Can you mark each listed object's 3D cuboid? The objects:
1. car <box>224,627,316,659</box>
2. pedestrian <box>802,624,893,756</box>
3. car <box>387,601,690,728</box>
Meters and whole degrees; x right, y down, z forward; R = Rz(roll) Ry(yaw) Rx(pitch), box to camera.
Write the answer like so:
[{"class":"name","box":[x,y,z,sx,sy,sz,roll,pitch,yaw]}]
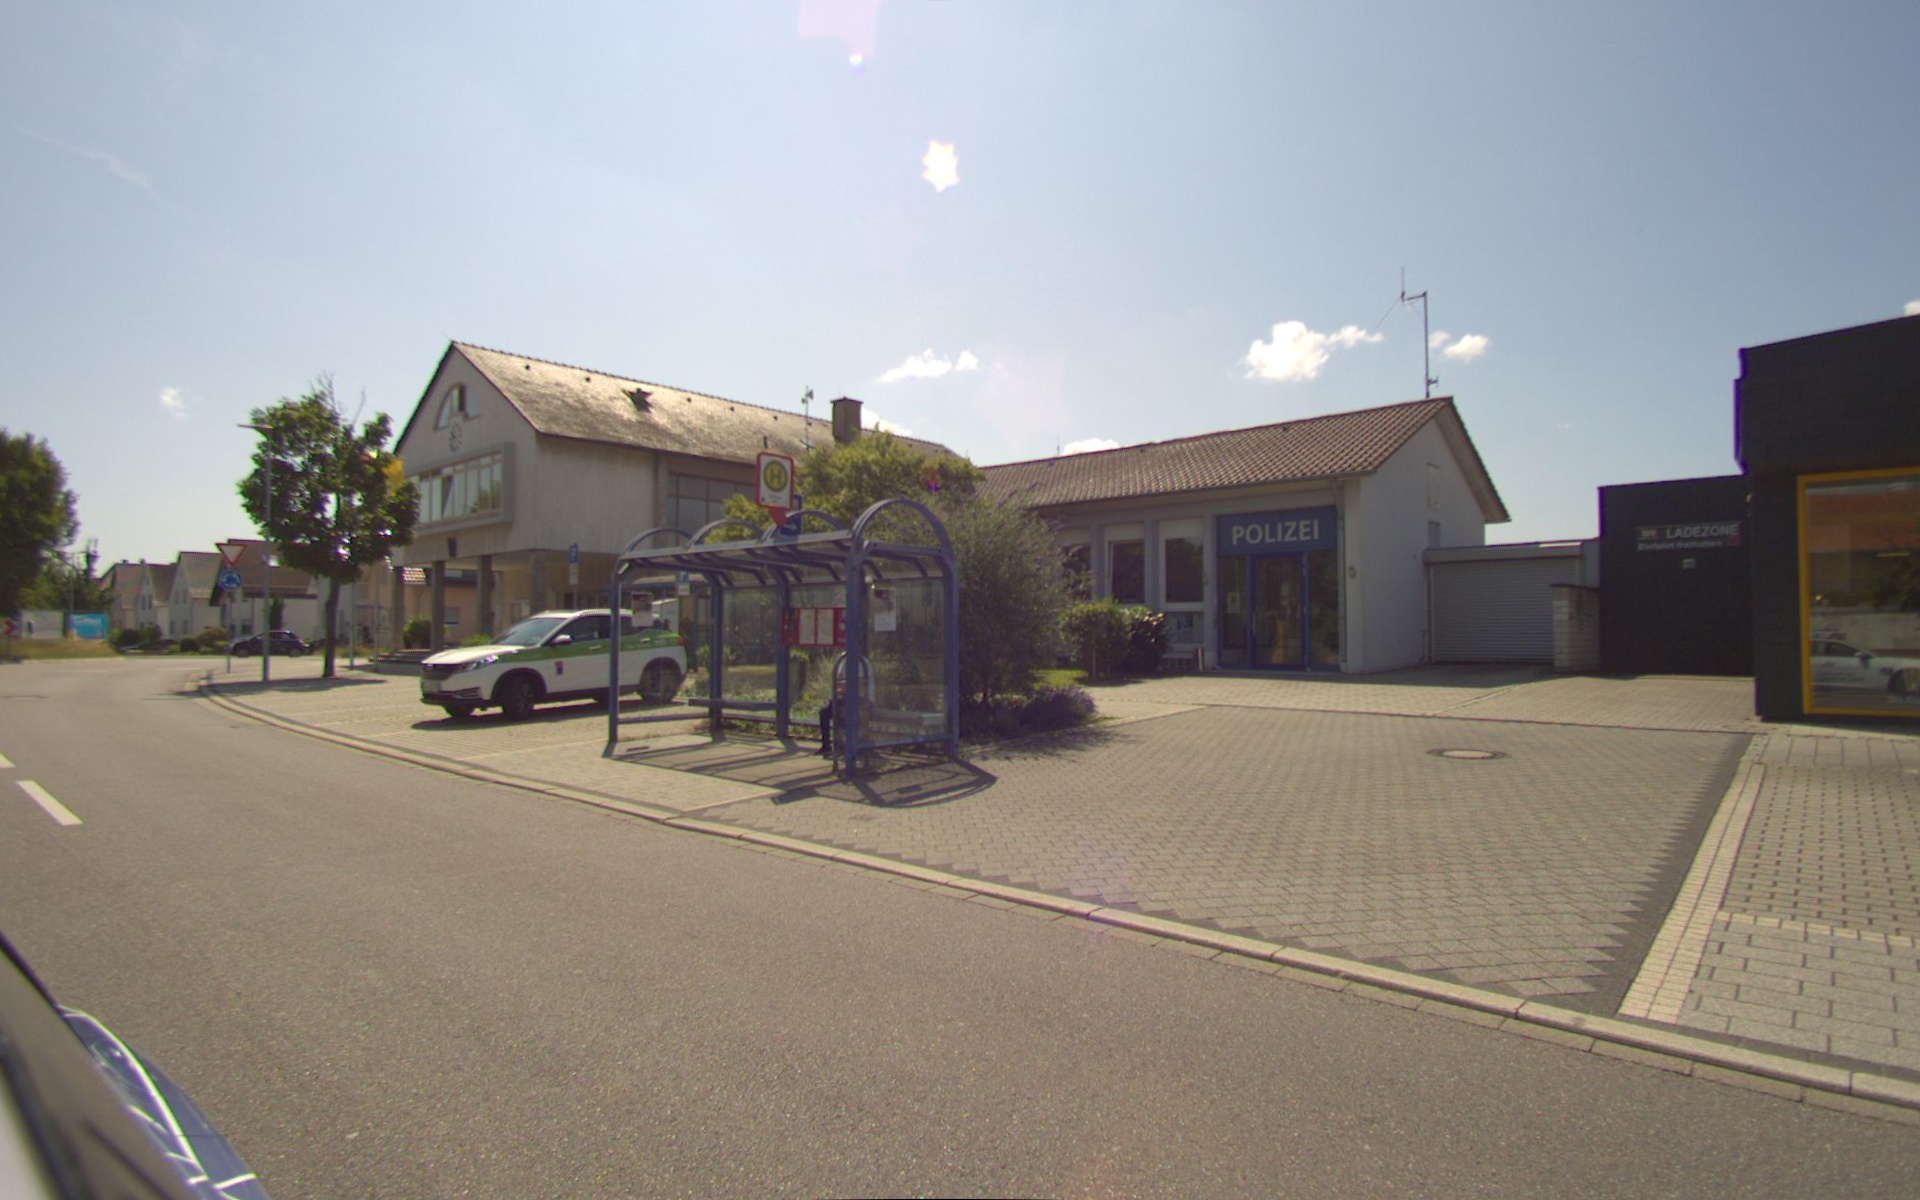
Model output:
[{"class":"car","box":[-36.780,2.275,53.964,3.935,1.504,2.004,-1,0,-38]},{"class":"pedestrian","box":[-1.225,0.952,11.040,0.607,1.368,0.776,-2,-2,41]},{"class":"car","box":[-6.748,0.924,16.598,1.941,1.732,4.202,-1,0,35]}]
